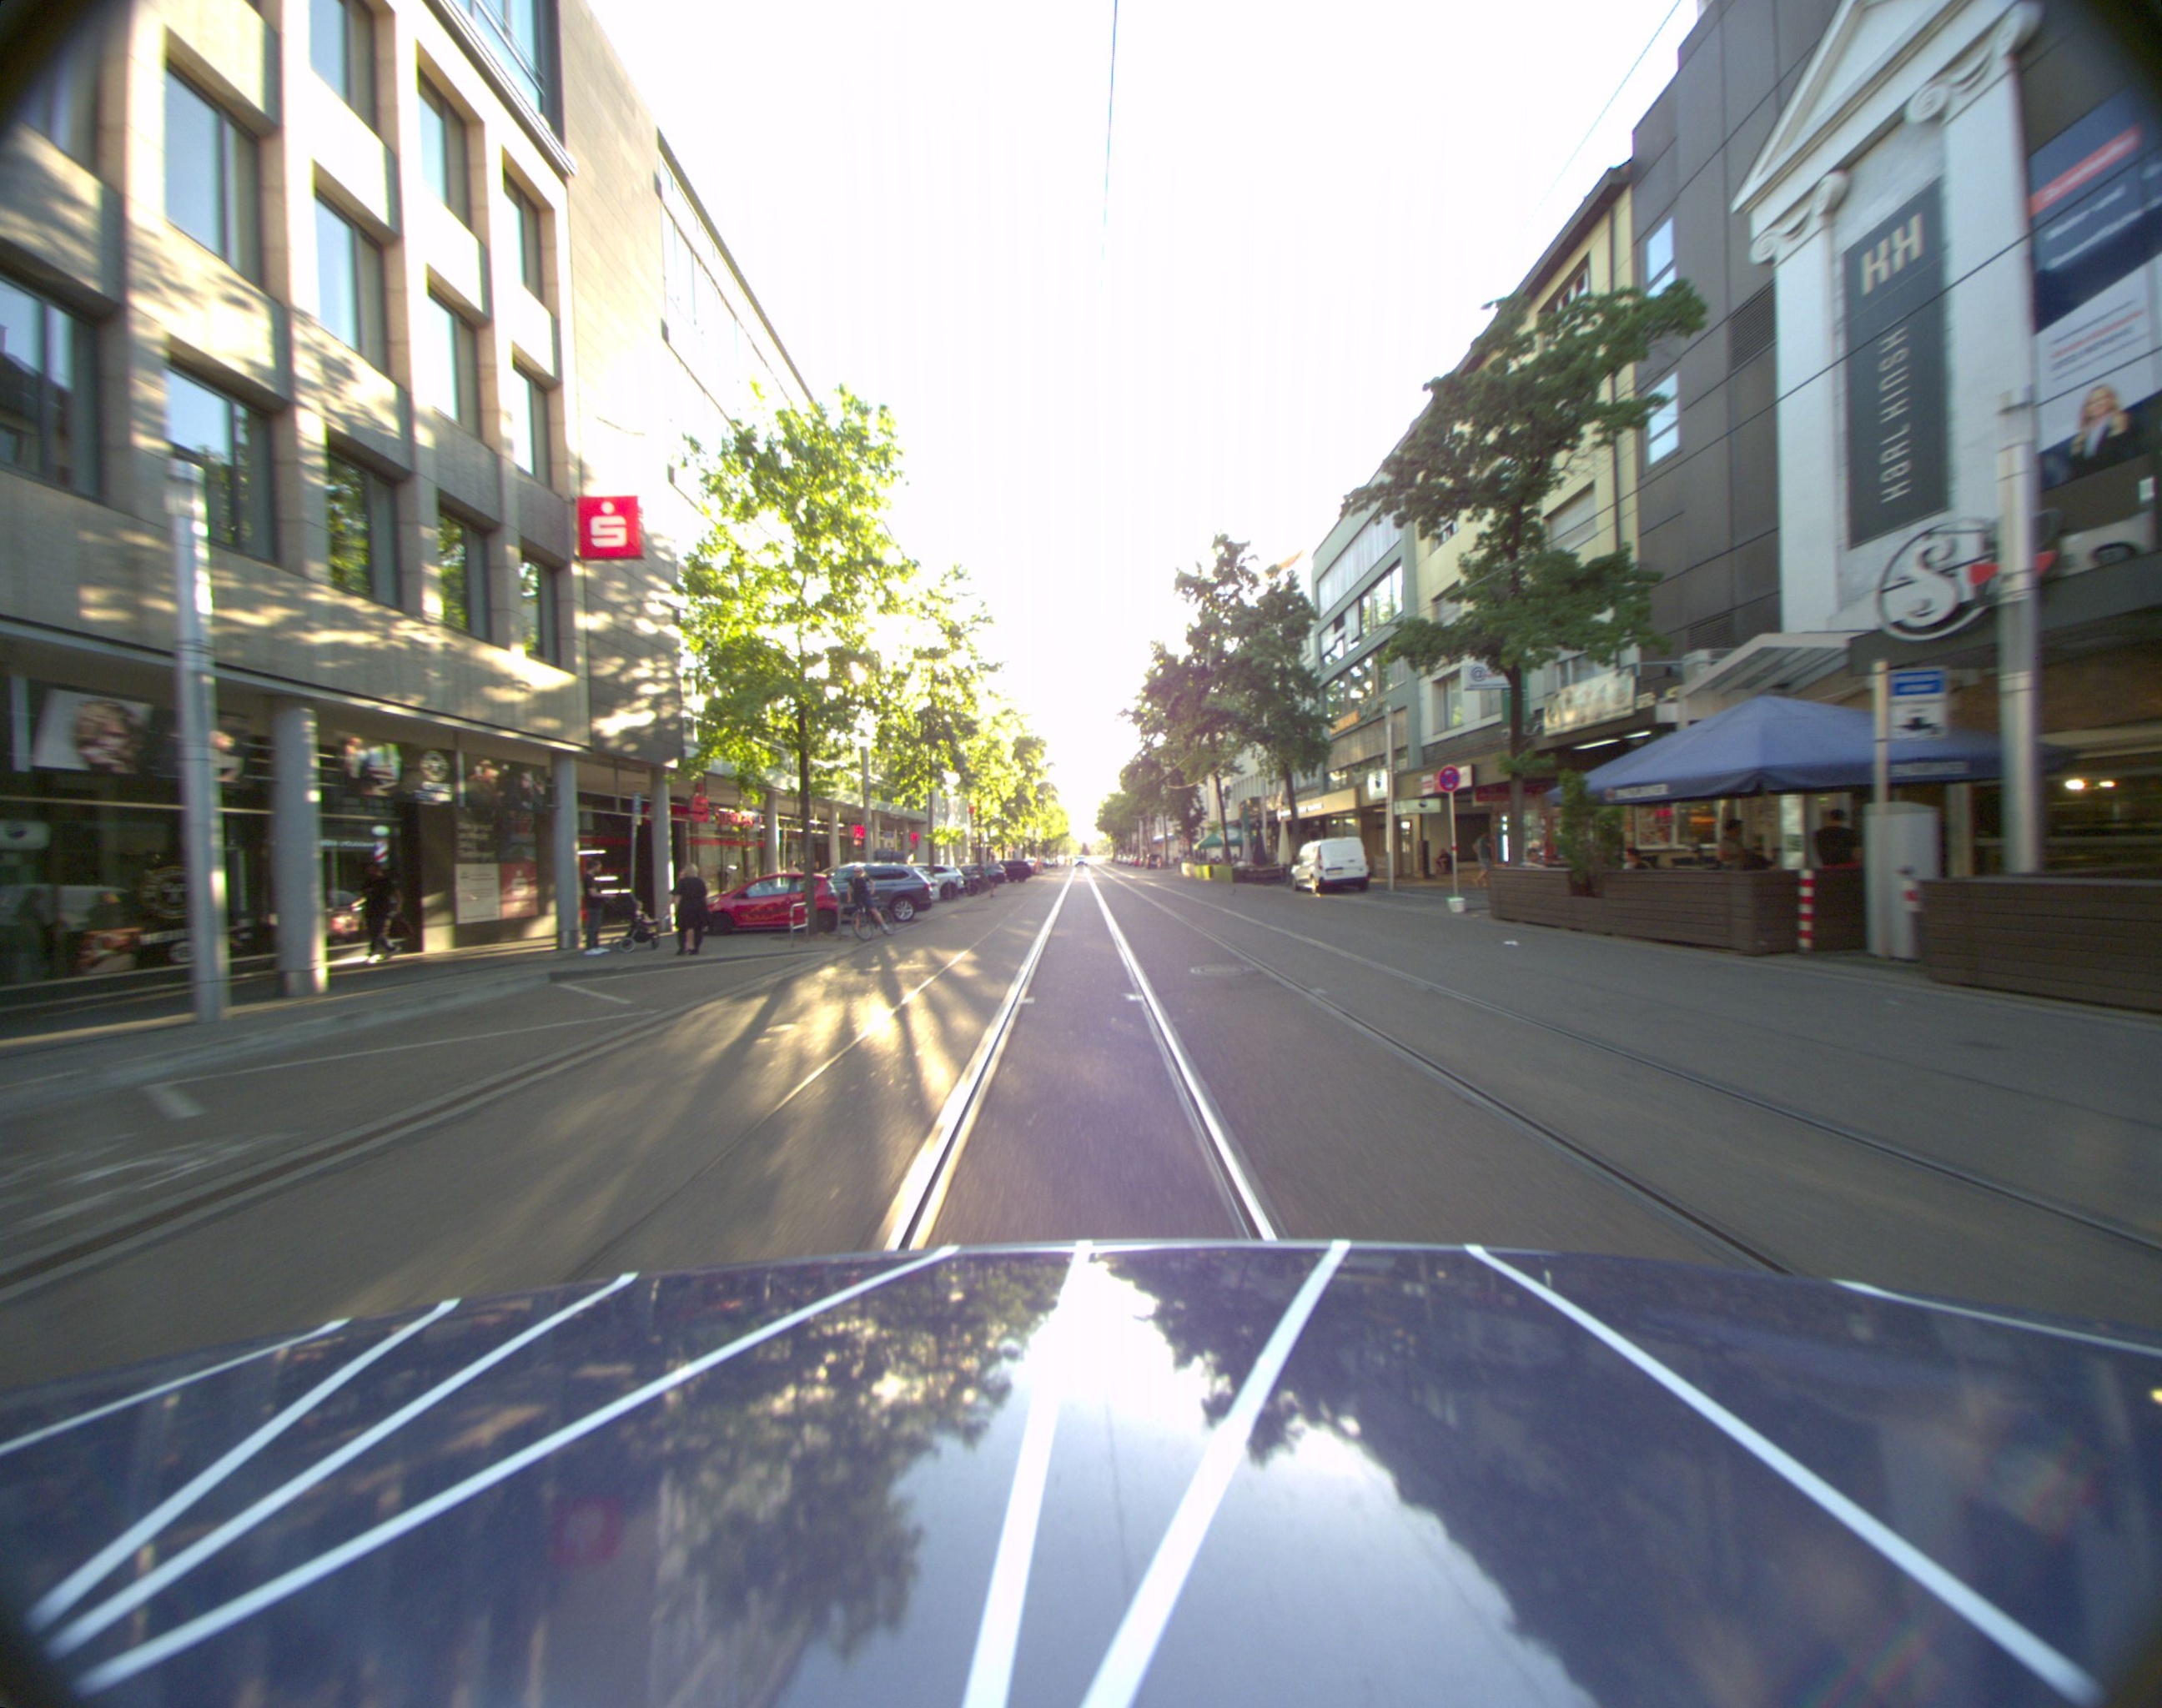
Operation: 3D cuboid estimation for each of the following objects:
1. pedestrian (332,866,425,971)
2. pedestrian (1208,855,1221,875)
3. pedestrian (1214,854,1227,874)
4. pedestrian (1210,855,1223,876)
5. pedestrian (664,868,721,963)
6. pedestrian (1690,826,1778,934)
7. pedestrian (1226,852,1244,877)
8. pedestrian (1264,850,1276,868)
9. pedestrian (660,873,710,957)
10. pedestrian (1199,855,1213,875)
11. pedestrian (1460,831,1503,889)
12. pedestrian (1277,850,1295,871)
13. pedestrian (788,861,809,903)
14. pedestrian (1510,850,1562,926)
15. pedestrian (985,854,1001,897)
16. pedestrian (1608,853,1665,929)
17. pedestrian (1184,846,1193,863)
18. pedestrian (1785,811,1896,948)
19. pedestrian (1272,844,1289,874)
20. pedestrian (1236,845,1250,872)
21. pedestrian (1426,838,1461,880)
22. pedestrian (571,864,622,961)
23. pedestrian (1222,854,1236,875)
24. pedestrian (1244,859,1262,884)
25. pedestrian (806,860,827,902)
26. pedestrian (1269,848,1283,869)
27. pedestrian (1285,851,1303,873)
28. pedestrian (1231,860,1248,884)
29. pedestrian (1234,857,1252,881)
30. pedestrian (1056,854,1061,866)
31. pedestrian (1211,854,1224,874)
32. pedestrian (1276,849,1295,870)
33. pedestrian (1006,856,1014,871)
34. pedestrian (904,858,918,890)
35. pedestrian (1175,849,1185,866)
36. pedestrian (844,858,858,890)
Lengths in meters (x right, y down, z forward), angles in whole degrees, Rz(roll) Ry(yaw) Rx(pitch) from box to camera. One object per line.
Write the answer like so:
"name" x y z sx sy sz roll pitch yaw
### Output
"pedestrian" -12.478 1.121 13.524 0.846 1.773 0.782 -2 0 1
"pedestrian" 8.476 0.689 48.357 0.620 1.237 0.697 -5 1 0
"pedestrian" 9.377 0.676 51.165 0.709 1.252 0.869 -4 0 2
"pedestrian" 8.422 0.719 47.229 0.620 1.237 0.697 -5 1 0
"pedestrian" -7.120 1.095 13.933 0.679 1.675 0.697 0 1 34
"pedestrian" 10.162 0.388 11.846 0.675 1.598 0.719 -3 1 -1
"pedestrian" 8.888 0.610 43.928 0.756 1.335 0.872 -5 0 0
"pedestrian" 12.989 0.329 52.222 0.603 1.151 0.687 -4 0 1
"pedestrian" -7.626 1.157 14.628 0.606 1.543 0.691 1 1 44
"pedestrian" 8.438 0.739 51.308 0.709 1.252 0.772 -4 0 2
"pedestrian" 12.073 0.184 22.939 0.668 1.676 1.005 -4 0 0
"pedestrian" 12.022 0.380 44.612 0.738 1.207 0.788 -5 0 -1
"pedestrian" -11.794 1.162 31.731 0.625 1.733 0.600 -1 1 6
"pedestrian" 8.411 0.619 14.068 0.551 1.348 0.582 -3 1 -1
"pedestrian" -3.968 0.968 34.320 0.584 1.907 0.663 0 1 2
"pedestrian" 9.279 0.608 12.703 0.496 1.220 0.535 -3 1 -1
"pedestrian" 11.613 0.085 82.328 0.721 1.802 0.876 -5 1 0
"pedestrian" 10.002 0.327 10.032 0.719 1.714 0.675 -3 1 -1
"pedestrian" 11.058 0.266 42.084 0.649 1.565 0.700 -5 1 0
"pedestrian" 10.269 0.306 48.104 0.620 1.661 0.697 -4 1 -1
"pedestrian" 13.297 0.173 27.879 0.771 1.458 0.765 -5 1 -2
"pedestrian" -8.965 1.059 14.054 0.687 1.721 0.634 1 1 42
"pedestrian" 9.207 0.646 47.290 0.620 1.237 0.697 -5 1 0
"pedestrian" 9.290 0.940 41.011 0.658 1.285 0.798 -5 0 0
"pedestrian" -11.097 1.130 31.880 0.626 1.733 0.599 -1 1 -1
"pedestrian" 12.466 0.288 48.627 0.620 1.302 0.697 -5 1 0
"pedestrian" 12.140 0.440 43.258 0.702 1.161 0.788 -5 0 0
"pedestrian" 8.560 0.953 41.021 0.658 1.237 0.872 -5 0 0
"pedestrian" 8.580 0.786 40.251 0.658 1.186 0.798 -5 0 0
"pedestrian" -3.495 0.880 117.214 0.705 1.858 0.792 -2 1 -2
"pedestrian" 9.427 0.659 52.554 0.709 1.339 0.781 -4 0 2
"pedestrian" 12.514 0.340 46.493 0.779 1.230 0.945 -5 0 0
"pedestrian" -8.927 1.146 95.915 0.835 1.886 0.918 -1 0 3
"pedestrian" -9.039 1.063 40.440 0.681 1.686 0.549 -2 1 -12
"pedestrian" 10.727 0.366 82.350 0.867 1.771 0.884 -5 1 0
"pedestrian" -12.452 1.075 41.135 0.558 1.740 0.525 0 1 0
